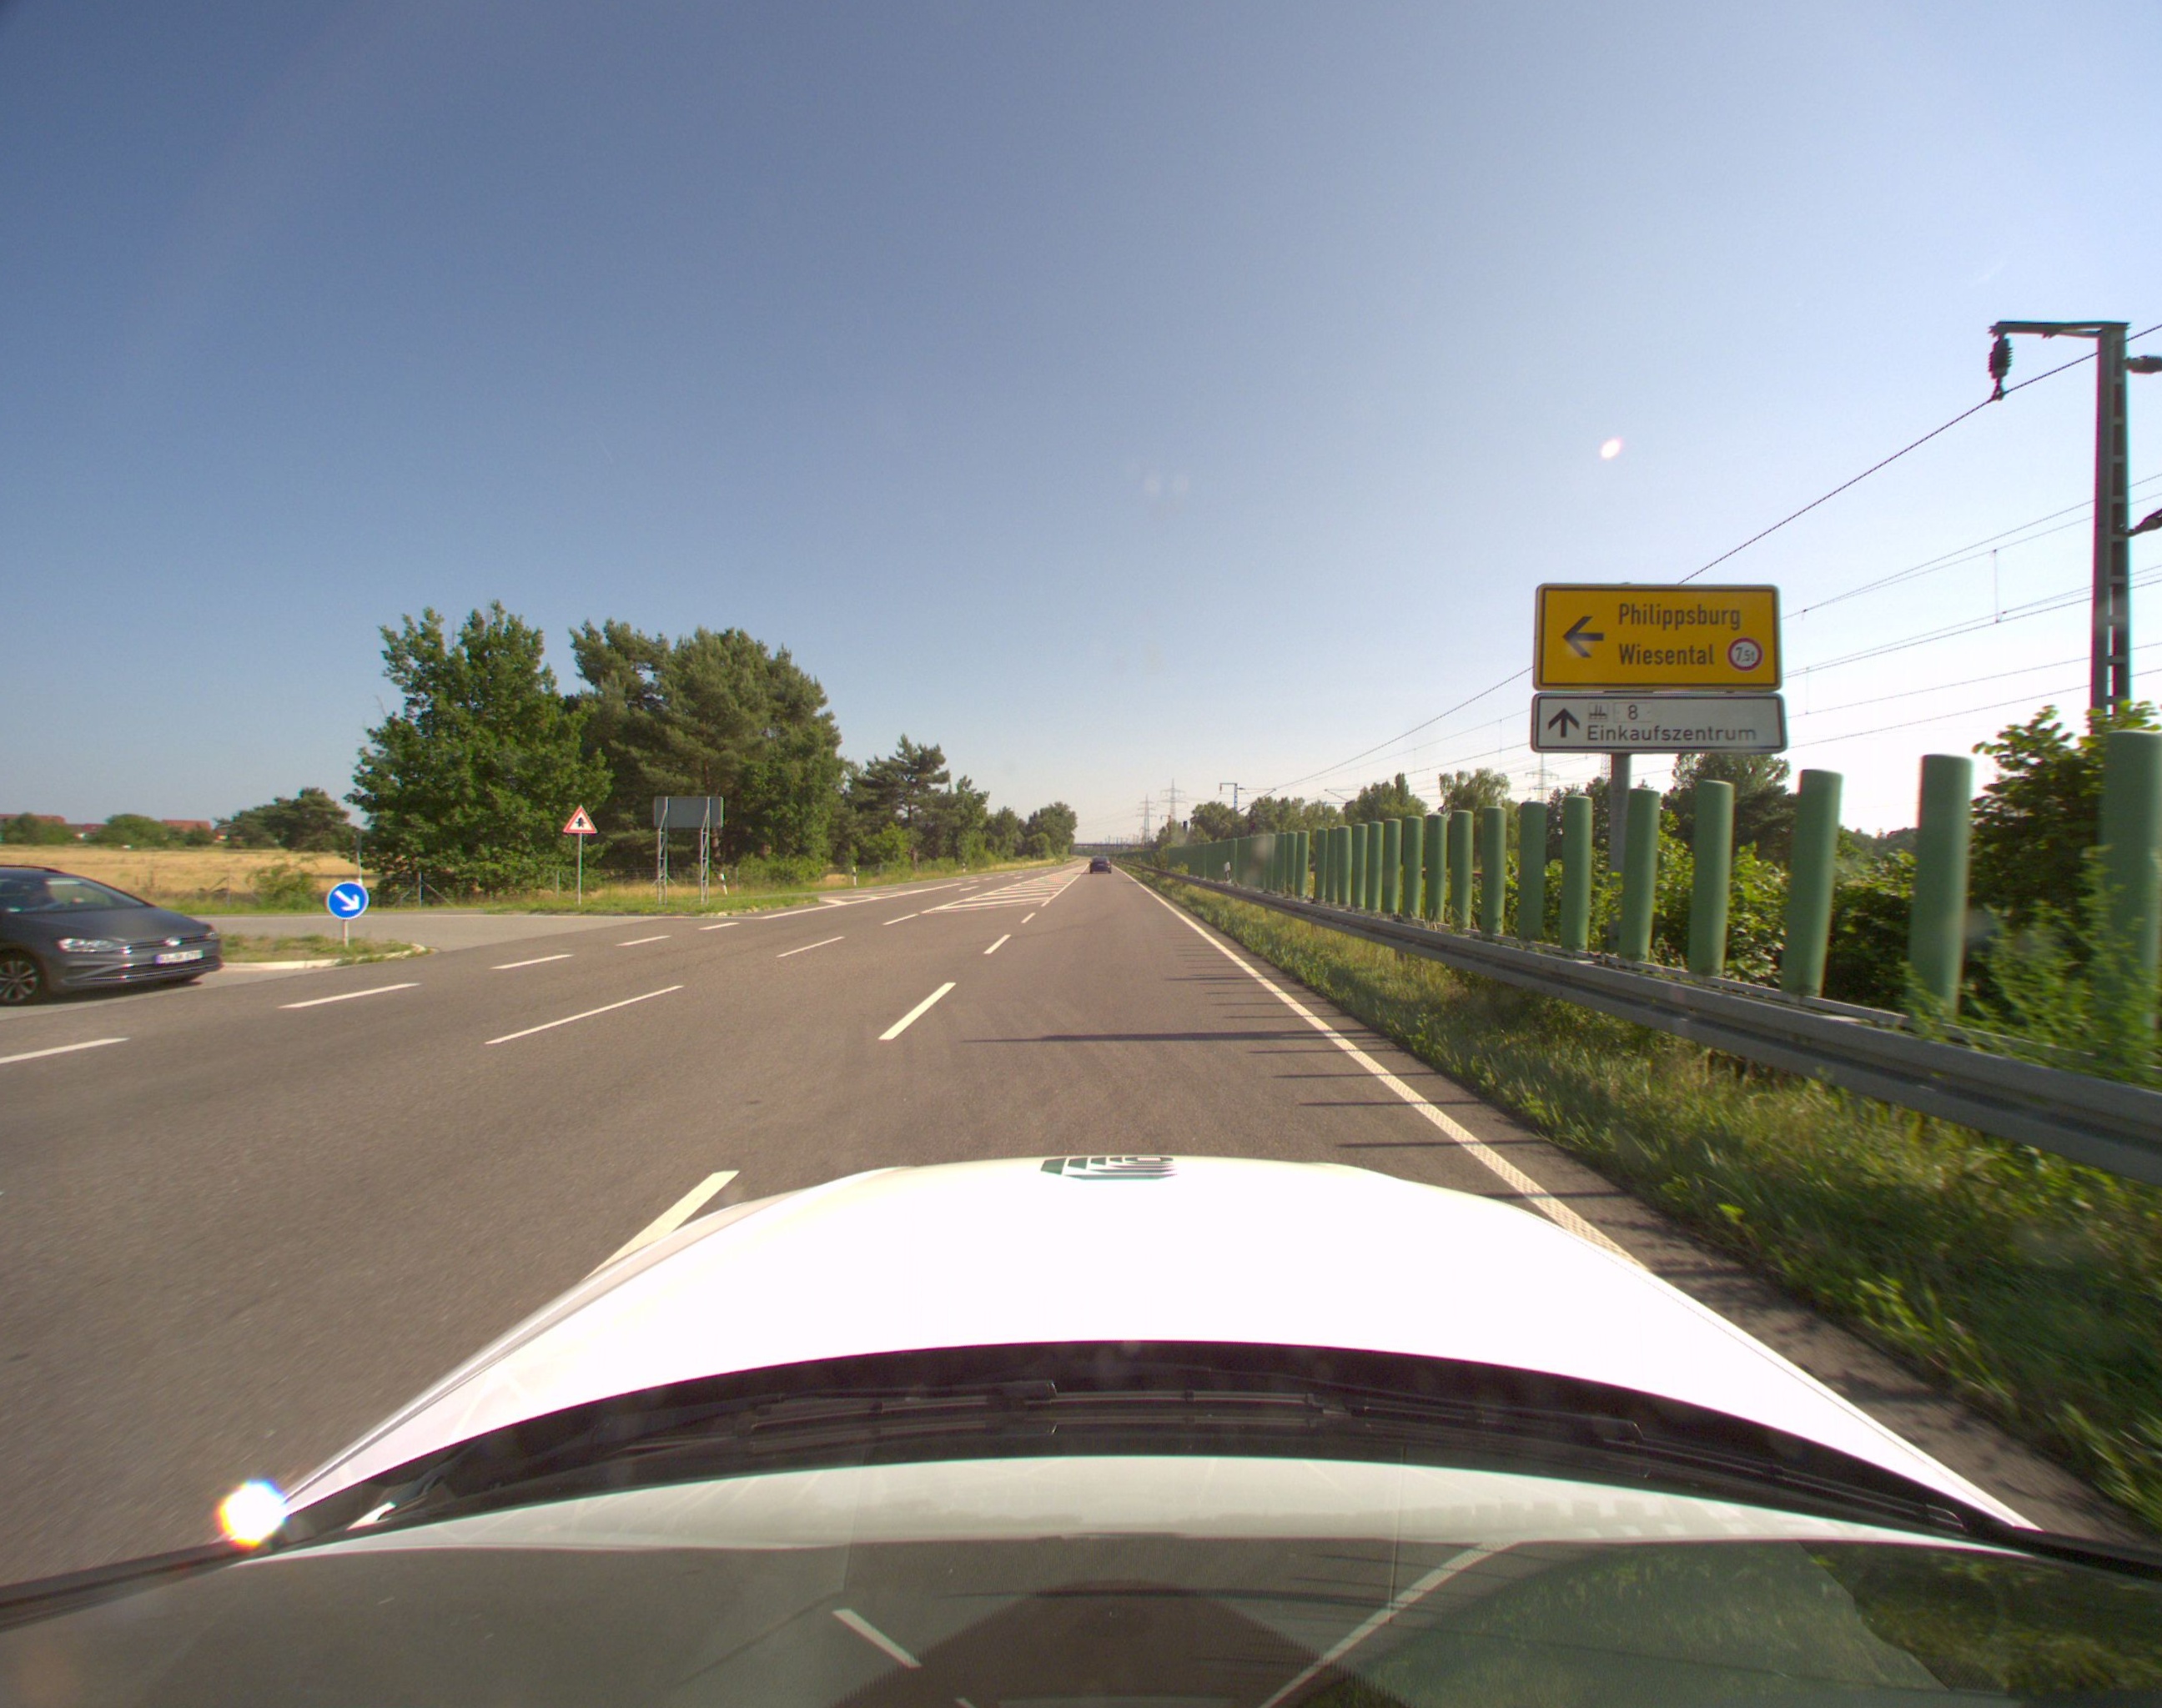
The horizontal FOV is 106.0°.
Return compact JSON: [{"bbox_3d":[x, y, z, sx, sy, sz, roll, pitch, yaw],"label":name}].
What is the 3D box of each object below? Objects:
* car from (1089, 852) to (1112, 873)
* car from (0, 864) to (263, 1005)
[{"bbox_3d":[1.718,0.723,69.617,1.852,1.642,4.002,-2,0,2],"label":"car"},{"bbox_3d":[-13.155,0.956,10.093,4.051,1.542,1.869,-1,0,-1],"label":"car"}]
